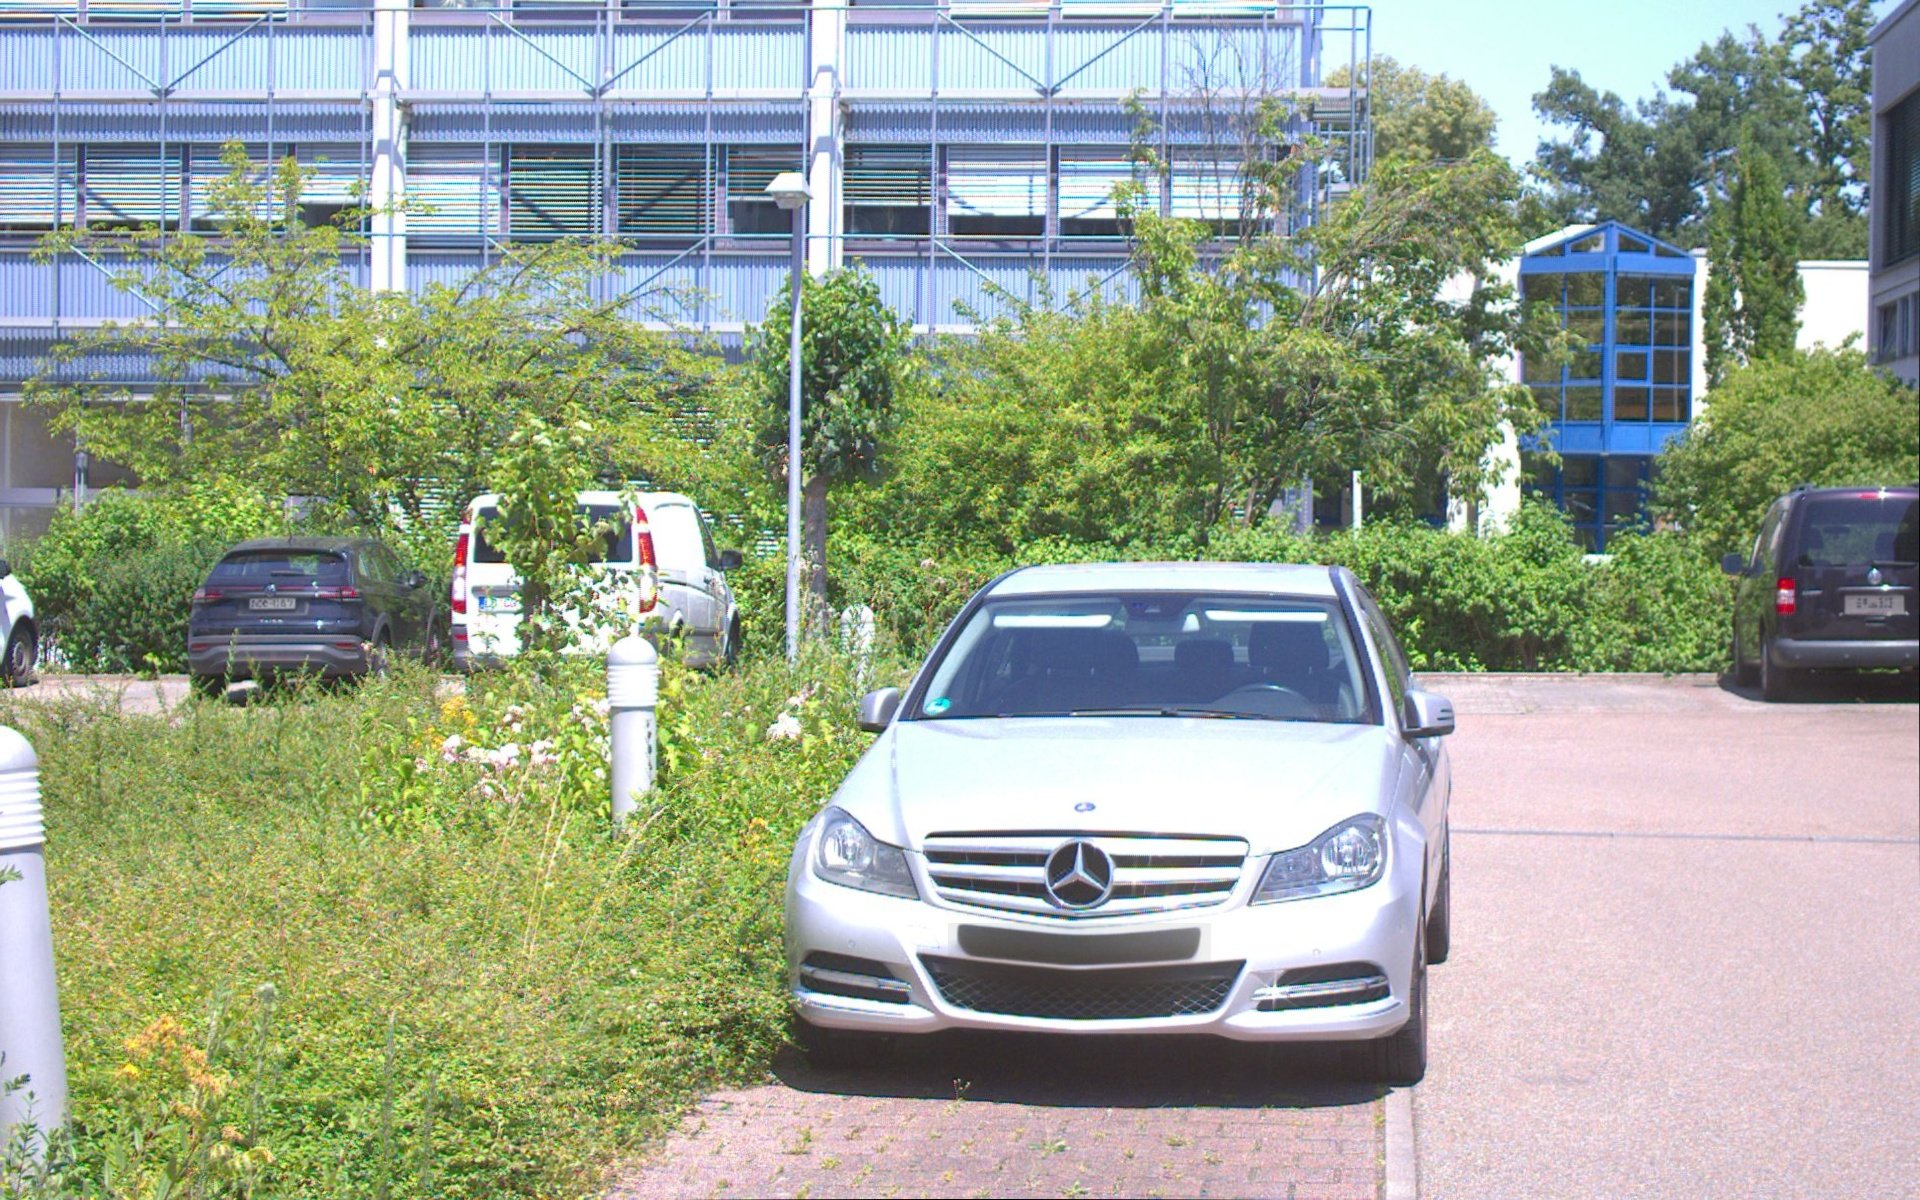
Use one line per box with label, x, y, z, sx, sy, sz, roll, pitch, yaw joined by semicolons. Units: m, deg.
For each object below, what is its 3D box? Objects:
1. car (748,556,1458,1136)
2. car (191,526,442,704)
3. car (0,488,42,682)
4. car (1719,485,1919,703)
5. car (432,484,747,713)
car;0.648;0.596;10.831;1.730;1.452;4.146;0;1;9
car;-5.947;0.087;32.159;1.754;1.471;4.001;-1;2;-3
car;-10.496;-0.095;32.296;1.882;1.884;4.802;0;2;8
car;7.917;-0.106;30.831;1.743;1.830;3.999;0;2;6
car;-3.263;-0.091;31.281;1.913;1.898;4.807;0;2;5
